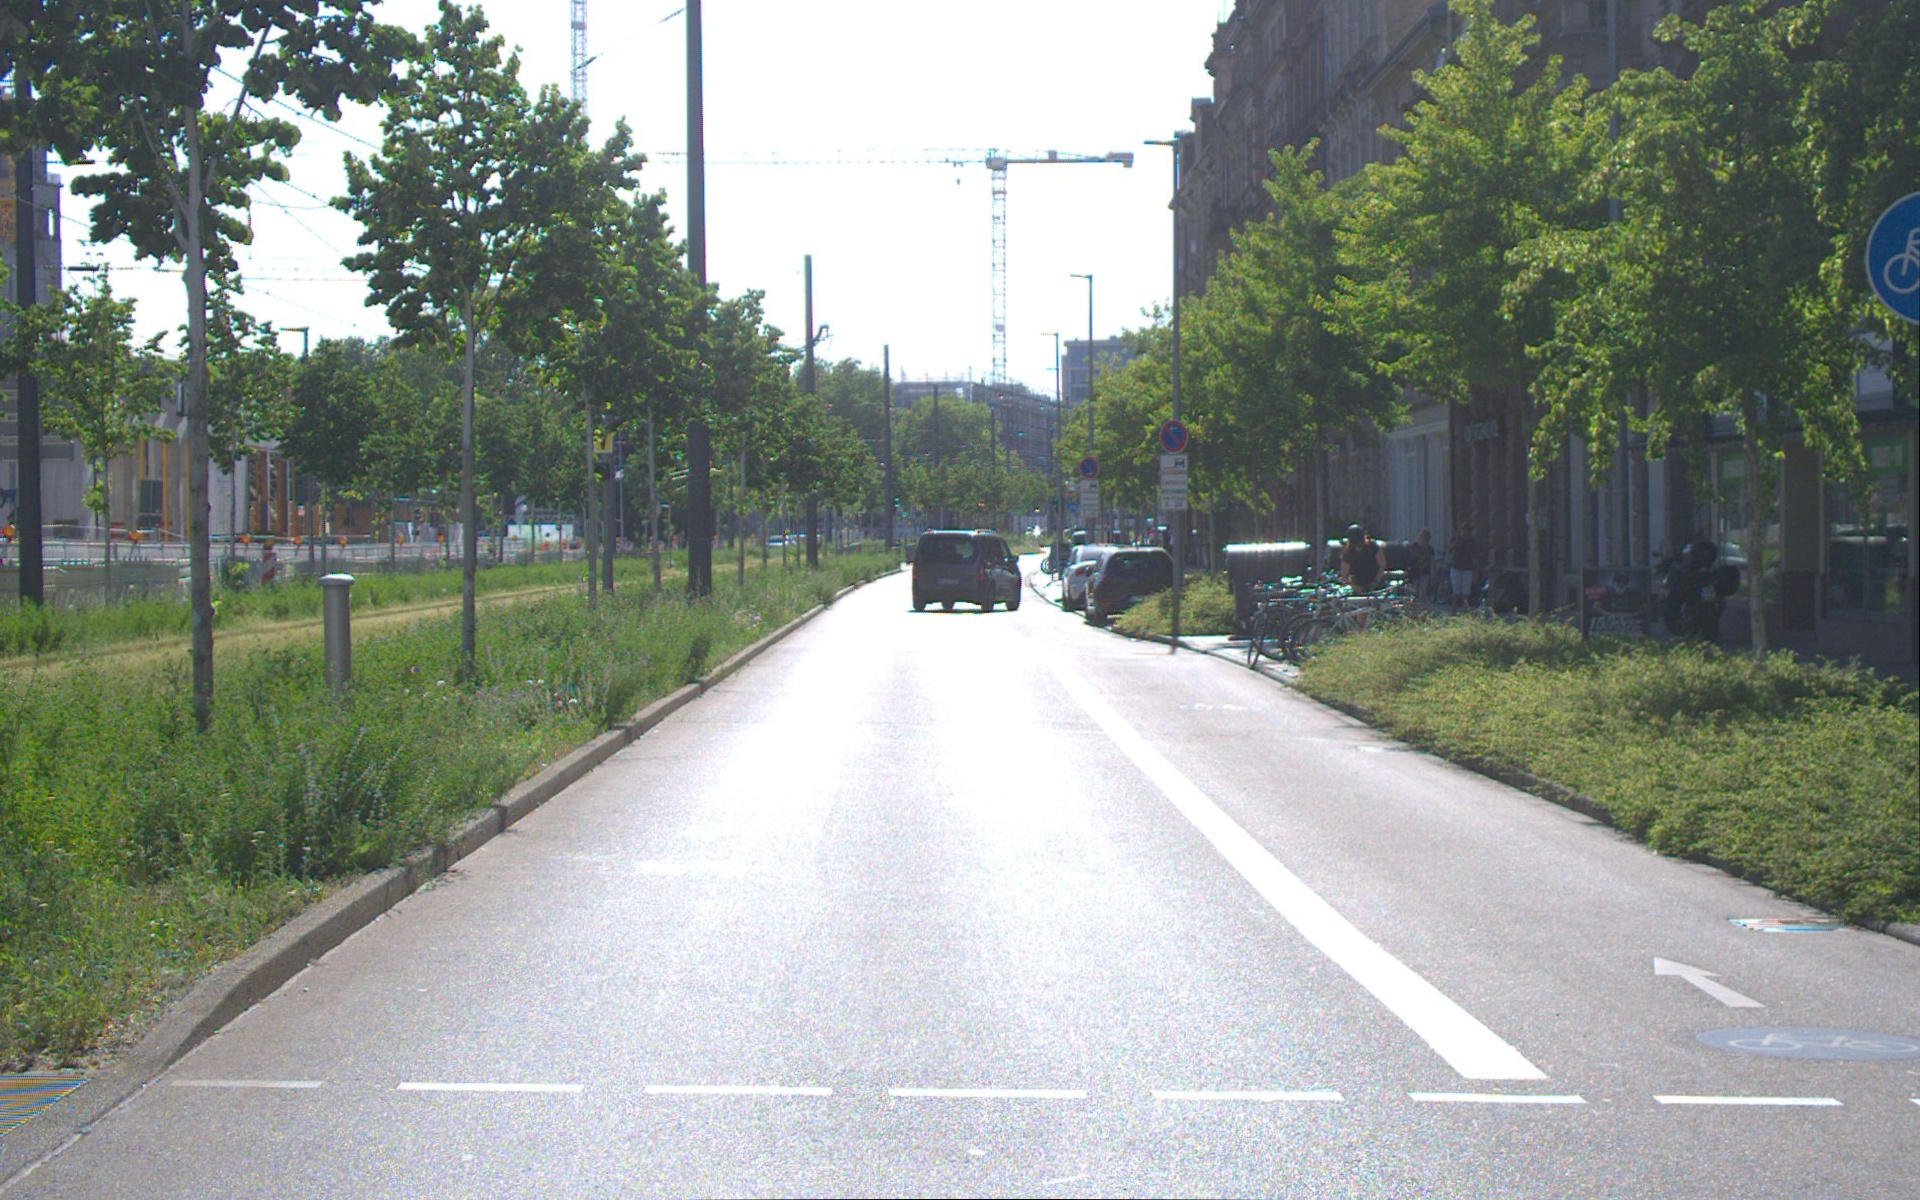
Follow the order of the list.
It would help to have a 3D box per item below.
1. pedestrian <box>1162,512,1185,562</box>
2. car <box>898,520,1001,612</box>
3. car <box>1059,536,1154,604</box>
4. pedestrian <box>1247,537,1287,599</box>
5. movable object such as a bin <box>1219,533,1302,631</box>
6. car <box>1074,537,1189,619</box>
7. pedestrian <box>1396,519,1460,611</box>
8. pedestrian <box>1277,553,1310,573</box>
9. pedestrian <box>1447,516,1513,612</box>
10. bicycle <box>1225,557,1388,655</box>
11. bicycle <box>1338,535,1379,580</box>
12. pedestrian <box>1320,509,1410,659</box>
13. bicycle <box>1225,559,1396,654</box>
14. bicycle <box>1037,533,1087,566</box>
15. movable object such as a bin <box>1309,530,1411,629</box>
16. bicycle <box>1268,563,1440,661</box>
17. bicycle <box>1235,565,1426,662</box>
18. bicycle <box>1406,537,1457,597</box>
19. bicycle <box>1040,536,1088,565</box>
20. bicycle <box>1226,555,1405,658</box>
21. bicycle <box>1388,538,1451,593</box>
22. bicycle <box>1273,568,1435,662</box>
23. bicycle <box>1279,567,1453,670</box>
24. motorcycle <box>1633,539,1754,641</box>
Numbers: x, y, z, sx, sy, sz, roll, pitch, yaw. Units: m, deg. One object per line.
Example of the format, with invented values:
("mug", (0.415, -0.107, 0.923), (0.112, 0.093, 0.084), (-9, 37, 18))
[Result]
("pedestrian", (8.617, -2.541, 138.923), (0.817, 2.007, 1.046), (1, -1, 0))
("car", (-0.212, -0.761, 77.981), (1.994, 2.007, 3.999), (1, 1, 5))
("car", (3.384, -0.724, 80.268), (1.951, 1.490, 5.105), (-2, 1, 0))
("pedestrian", (8.606, -0.903, 96.336), (0.996, 1.725, 0.866), (1, 0, 0))
("movable object such as a bin", (4.776, -0.299, 54.682), (1.271, 1.458, 1.644), (1, 3, 4))
("car", (3.339, -0.434, 67.562), (1.765, 1.472, 4.449), (-3, 1, -3))
("pedestrian", (8.174, -0.616, 60.090), (0.950, 1.561, 1.080), (-1, 2, -1))
("pedestrian", (9.780, -1.080, 100.850), (0.773, 0.551, 2.008), (-1, 2, 0))
("pedestrian", (9.103, -0.631, 60.208), (0.971, 1.633, 0.992), (-1, 2, 0))
("bicycle", (4.480, 0.077, 44.439), (1.974, 1.120, 0.482), (-4, 2, -5))
("bicycle", (9.735, -1.045, 83.986), (0.721, 1.086, 2.198), (-1, 1, 0))
("pedestrian", (4.876, -0.201, 41.367), (0.900, 1.730, 0.849), (-4, 1, 12))
("bicycle", (4.489, 0.079, 44.031), (2.043, 1.103, 0.611), (-3, 1, -6))
("bicycle", (4.081, -2.036, 137.626), (1.878, 1.229, 0.500), (-3, 1, -5))
("movable object such as a bin", (6.372, -0.335, 54.855), (1.373, 1.490, 1.749), (-3, 0, 1))
("bicycle", (4.749, 0.142, 41.438), (1.977, 1.104, 0.435), (-2, 1, -3))
("bicycle", (4.591, 0.156, 42.603), (2.284, 1.098, 0.486), (-2, 1, -14))
("bicycle", (9.579, -0.672, 69.823), (0.748, 1.197, 1.801), (-1, 1, 0))
("bicycle", (4.207, -1.987, 139.161), (1.824, 1.075, 0.665), (-3, 1, -6))
("bicycle", (4.447, 0.073, 42.947), (2.146, 1.150, 0.429), (-4, 1, -13))
("bicycle", (9.736, -0.734, 72.888), (0.875, 1.101, 2.182), (-3, 1, -3))
("bicycle", (4.709, 0.178, 41.095), (1.814, 1.052, 0.572), (-2, 1, -6))
("bicycle", (4.678, 0.208, 39.622), (1.891, 1.105, 0.518), (-2, 1, -5))
("motorcycle", (9.443, -0.145, 44.373), (0.866, 1.262, 2.982), (1, 1, -1))
